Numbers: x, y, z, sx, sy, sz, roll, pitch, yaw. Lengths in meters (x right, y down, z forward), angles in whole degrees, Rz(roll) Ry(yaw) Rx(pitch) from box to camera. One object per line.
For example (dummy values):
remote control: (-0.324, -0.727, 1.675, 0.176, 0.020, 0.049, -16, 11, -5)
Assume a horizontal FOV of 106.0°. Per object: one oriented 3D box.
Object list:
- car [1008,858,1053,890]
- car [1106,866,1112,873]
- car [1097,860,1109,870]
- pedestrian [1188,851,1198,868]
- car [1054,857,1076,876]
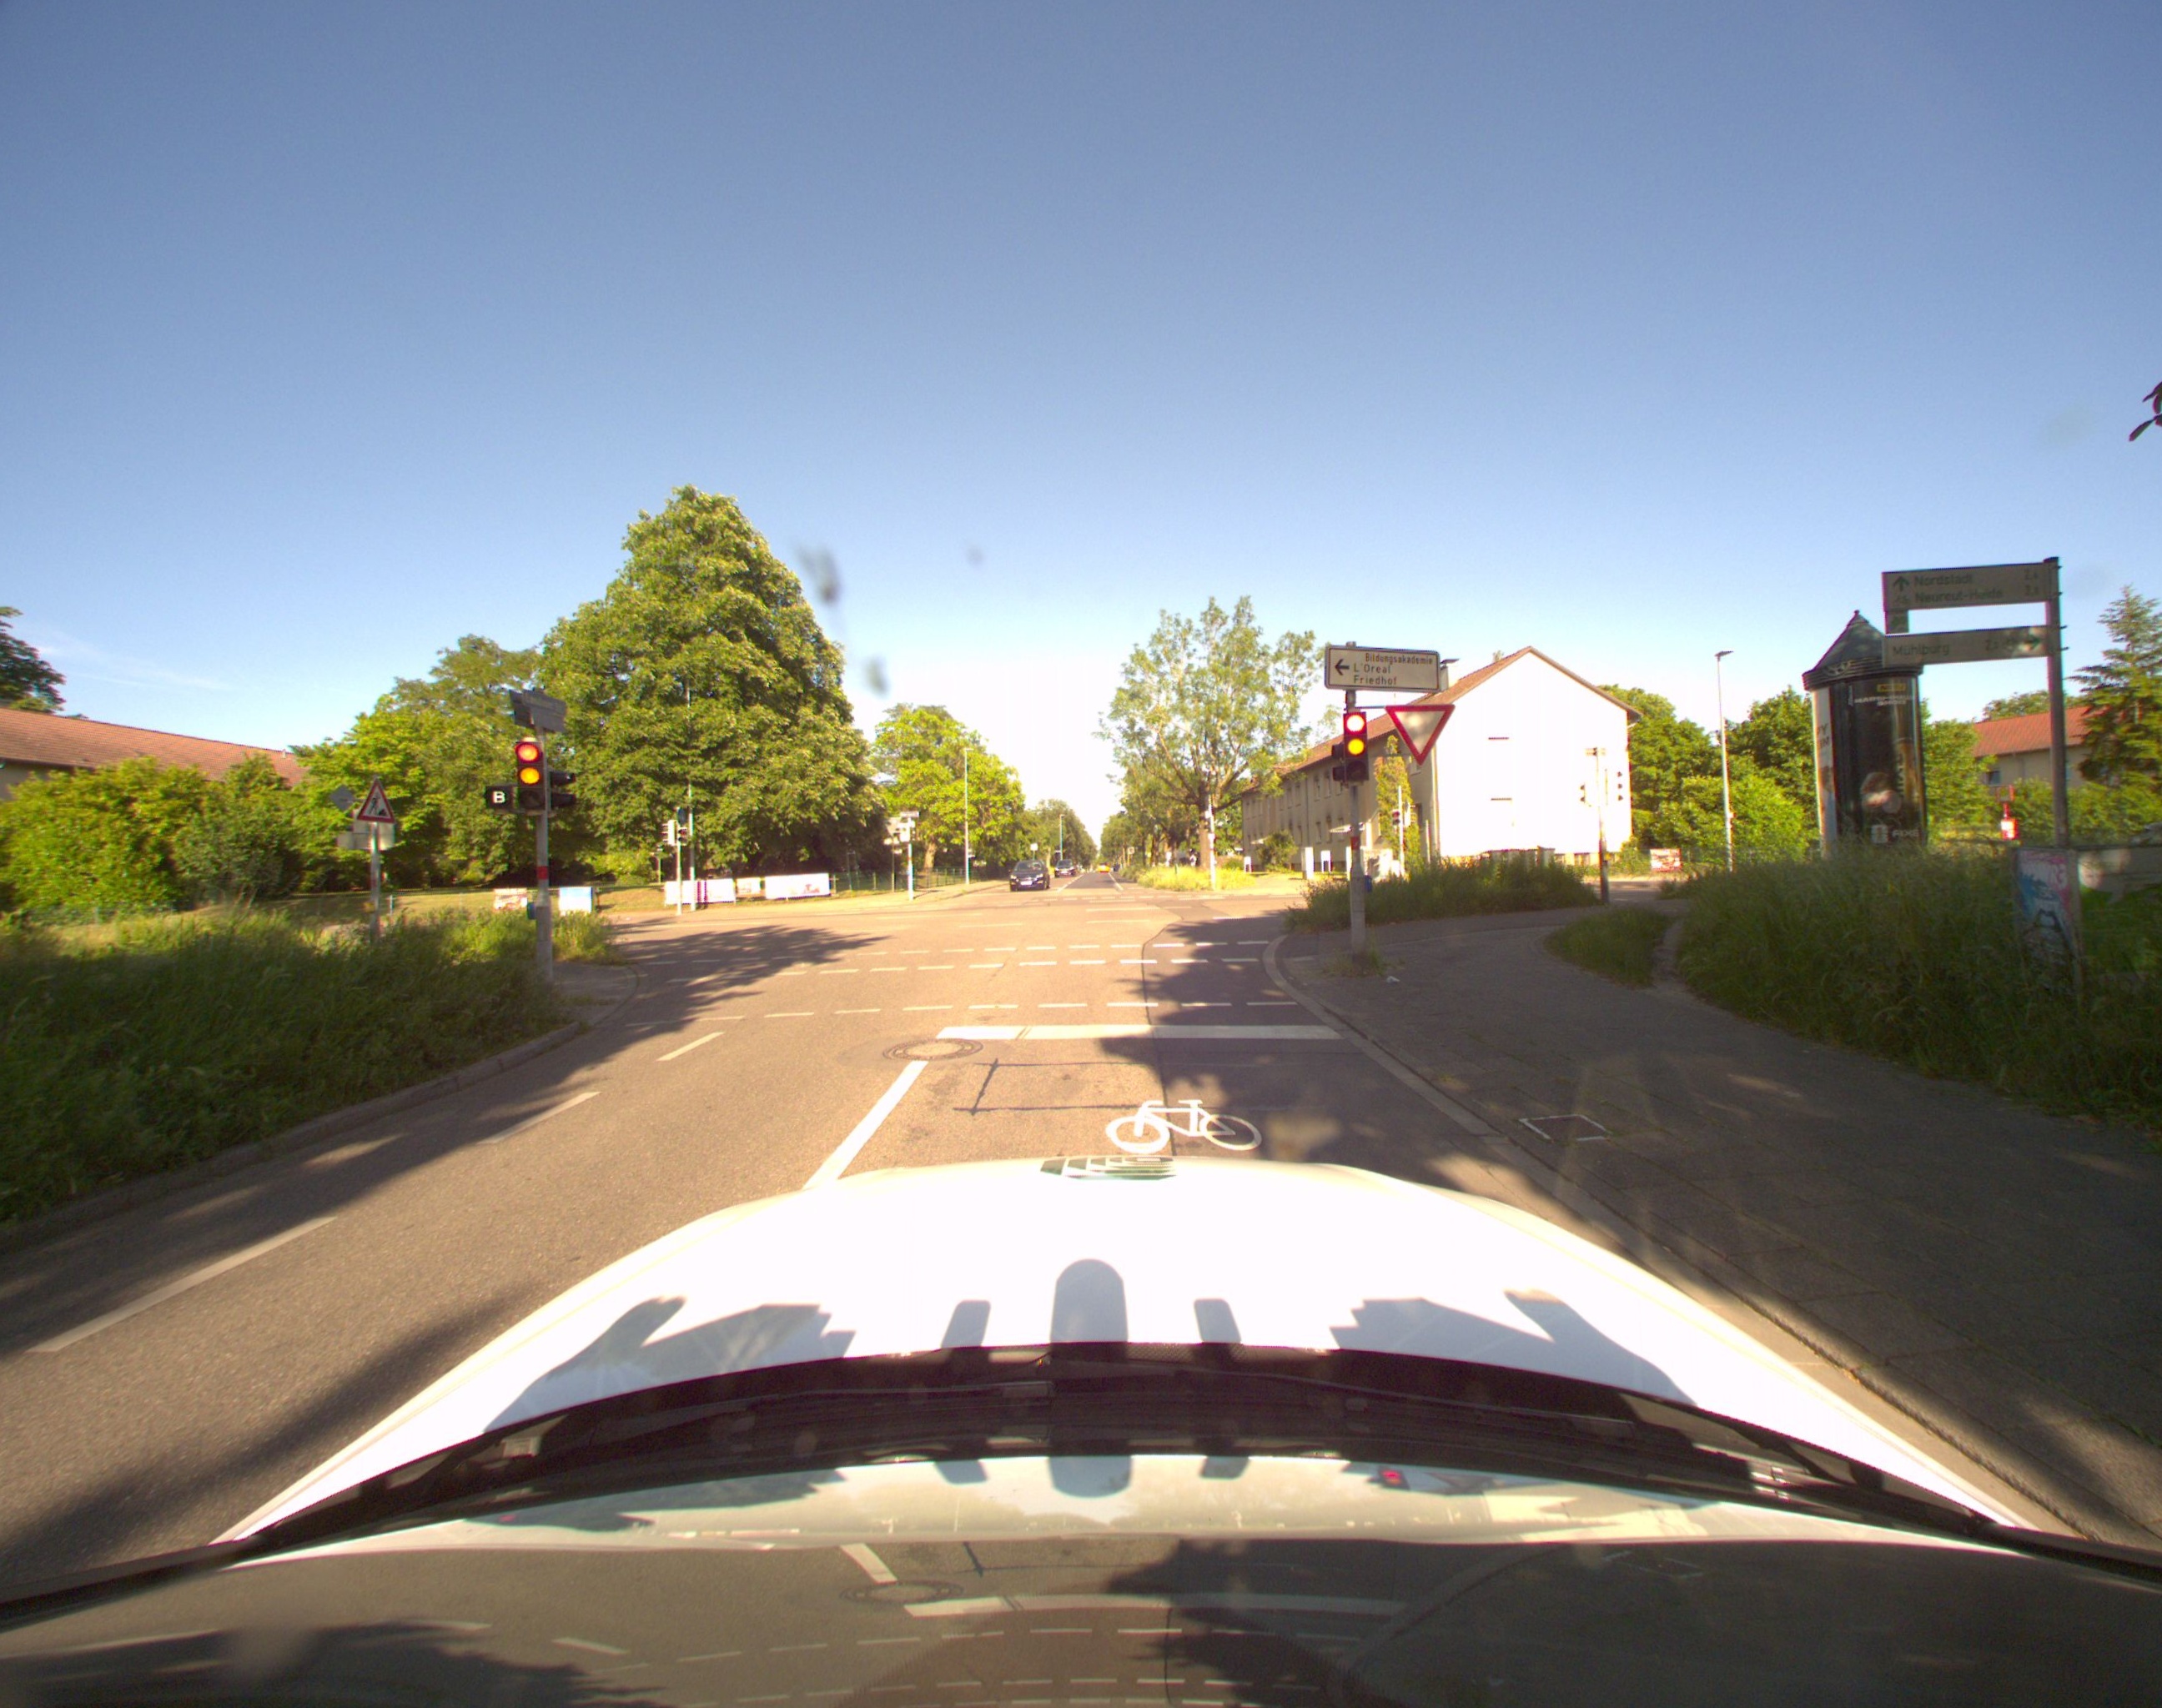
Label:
car: (-2.373, 0.921, 38.820, 1.704, 1.385, 3.473, -2, 0, 3)
car: (7.549, 4.166, 219.284, 1.766, 1.754, 4.002, -1, -1, 2)
car: (3.380, 1.714, 126.222, 1.745, 1.582, 4.002, -1, -1, 2)
pedestrian: (10.524, 0.516, 76.726, 0.839, 1.493, 0.924, 1, 0, 1)
car: (-1.443, 1.144, 74.210, 1.751, 1.624, 3.271, -2, 0, 3)
